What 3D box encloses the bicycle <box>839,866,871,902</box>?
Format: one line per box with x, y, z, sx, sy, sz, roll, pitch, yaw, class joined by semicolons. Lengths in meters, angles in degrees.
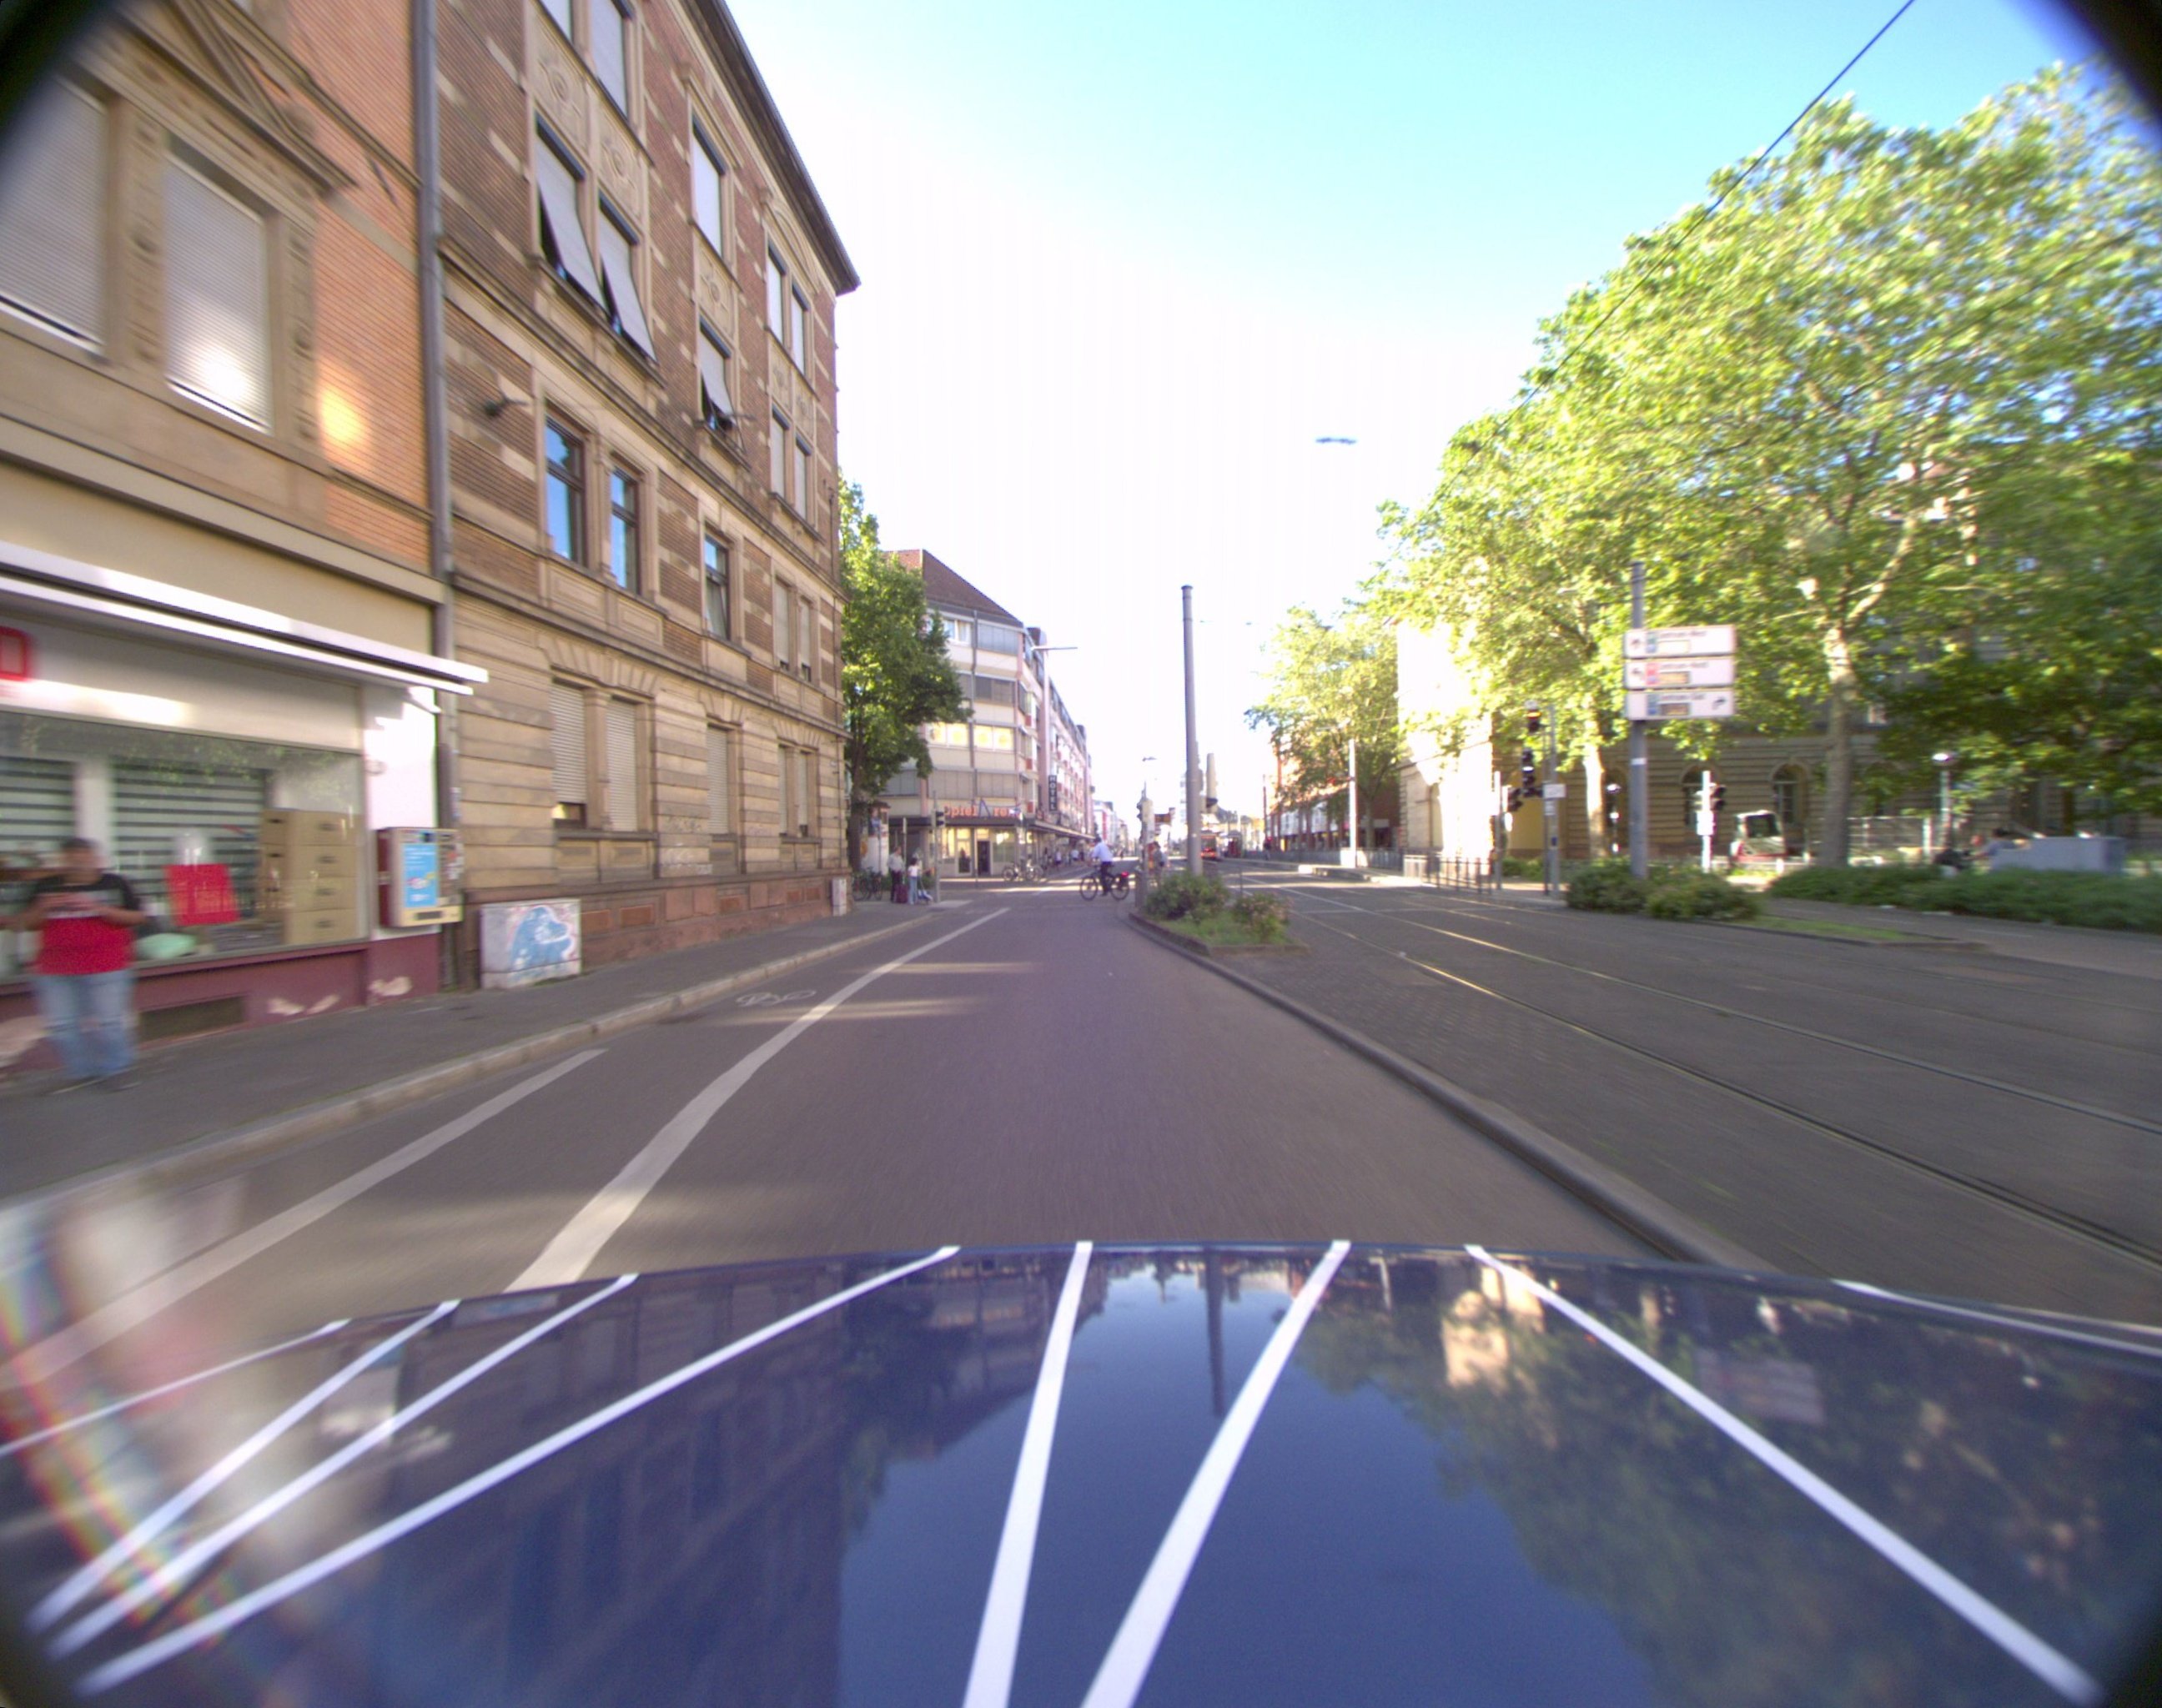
-7.626;0.993;25.637;0.445;1.108;1.810;-2;1;-36;bicycle

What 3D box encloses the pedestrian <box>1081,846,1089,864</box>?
0.351;0.052;73.350;0.668;1.719;0.810;1;1;4;pedestrian

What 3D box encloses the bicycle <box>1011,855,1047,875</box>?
-2.967;0.647;43.401;1.950;1.100;0.564;-1;1;3;bicycle

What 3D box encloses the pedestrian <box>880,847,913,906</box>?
-5.705;0.683;23.483;0.851;1.797;0.874;-1;0;-23;pedestrian

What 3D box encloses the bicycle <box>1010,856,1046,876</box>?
-3.002;0.662;42.788;1.950;1.100;0.564;-1;1;3;bicycle

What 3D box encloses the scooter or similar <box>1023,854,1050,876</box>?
-2.583;0.611;44.027;1.482;1.222;0.592;1;1;5;scooter or similar

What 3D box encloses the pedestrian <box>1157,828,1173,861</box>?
4.589;-0.513;41.399;0.764;1.724;0.590;-2;1;11;pedestrian

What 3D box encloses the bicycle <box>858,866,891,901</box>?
-6.957;0.965;25.538;0.445;1.108;1.810;-2;1;-36;bicycle

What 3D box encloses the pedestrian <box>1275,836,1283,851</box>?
25.352;-1.365;97.227;0.791;1.905;0.666;-1;1;3;pedestrian

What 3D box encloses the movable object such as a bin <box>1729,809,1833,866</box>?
25.962;-0.586;28.276;2.643;2.002;1.177;-1;1;28;movable object such as a bin

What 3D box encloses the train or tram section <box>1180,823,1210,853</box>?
15.266;-2.151;102.552;2.980;3.623;13.947;-3;1;5;train or tram section

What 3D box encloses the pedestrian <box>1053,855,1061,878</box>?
-1.942;0.975;61.212;0.452;1.838;0.812;3;0;5;pedestrian

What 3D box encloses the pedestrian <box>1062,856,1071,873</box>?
-1.298;0.922;68.327;0.740;1.464;0.707;1;1;5;pedestrian

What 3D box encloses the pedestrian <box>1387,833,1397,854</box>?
27.542;-0.925;67.243;0.708;1.871;0.626;-1;1;8;pedestrian

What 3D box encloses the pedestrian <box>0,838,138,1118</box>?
-6.661;0.759;4.966;0.469;1.718;0.589;0;1;41;pedestrian

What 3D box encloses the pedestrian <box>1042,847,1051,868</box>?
-2.848;0.276;62.311;0.630;1.759;0.501;-1;1;5;pedestrian

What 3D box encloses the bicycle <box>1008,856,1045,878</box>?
-3.034;0.703;42.134;1.950;1.159;0.628;-1;1;3;bicycle

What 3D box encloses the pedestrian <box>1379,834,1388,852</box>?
26.833;-0.982;67.448;0.584;1.521;0.474;-1;2;6;pedestrian

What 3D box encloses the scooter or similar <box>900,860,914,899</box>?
-5.969;0.846;26.076;0.391;1.282;1.521;-1;1;-11;scooter or similar

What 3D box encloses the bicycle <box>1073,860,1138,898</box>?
0.725;0.732;22.905;1.939;1.088;0.600;-1;2;39;bicycle

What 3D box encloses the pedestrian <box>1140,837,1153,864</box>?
3.209;-0.164;37.083;0.480;1.322;0.355;-1;2;34;pedestrian

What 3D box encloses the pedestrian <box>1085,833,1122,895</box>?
0.680;0.309;22.912;0.593;1.811;0.944;-2;1;39;pedestrian

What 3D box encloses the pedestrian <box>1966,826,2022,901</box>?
20.329;0.197;16.923;0.692;1.627;0.674;-2;1;-28;pedestrian

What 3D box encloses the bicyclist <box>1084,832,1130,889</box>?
0.769;0.196;22.800;1.039;1.662;0.847;0;2;40;bicyclist

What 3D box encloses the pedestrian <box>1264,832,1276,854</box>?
14.433;-0.853;58.070;0.697;1.658;1.033;-1;1;5;pedestrian

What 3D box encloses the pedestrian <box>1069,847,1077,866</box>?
-0.727;0.246;72.771;0.707;1.810;0.763;1;1;2;pedestrian

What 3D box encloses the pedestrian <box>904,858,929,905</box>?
-5.084;0.828;23.455;0.581;1.406;0.575;-3;1;-22;pedestrian

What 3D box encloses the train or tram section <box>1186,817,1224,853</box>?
14.043;-2.023;87.406;2.980;3.623;16.491;-3;0;5;train or tram section

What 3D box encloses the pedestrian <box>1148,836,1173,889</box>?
2.471;0.257;23.602;0.519;1.581;0.667;-5;1;-5;pedestrian

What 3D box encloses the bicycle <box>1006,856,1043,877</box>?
-3.063;0.693;41.373;1.950;1.100;0.564;-1;1;3;bicycle

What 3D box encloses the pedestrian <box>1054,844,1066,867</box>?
-1.560;0.103;56.774;0.746;1.717;0.815;-3;1;5;pedestrian

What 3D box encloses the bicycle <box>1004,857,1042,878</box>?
-3.083;0.721;40.725;1.950;1.100;0.564;-1;1;3;bicycle
